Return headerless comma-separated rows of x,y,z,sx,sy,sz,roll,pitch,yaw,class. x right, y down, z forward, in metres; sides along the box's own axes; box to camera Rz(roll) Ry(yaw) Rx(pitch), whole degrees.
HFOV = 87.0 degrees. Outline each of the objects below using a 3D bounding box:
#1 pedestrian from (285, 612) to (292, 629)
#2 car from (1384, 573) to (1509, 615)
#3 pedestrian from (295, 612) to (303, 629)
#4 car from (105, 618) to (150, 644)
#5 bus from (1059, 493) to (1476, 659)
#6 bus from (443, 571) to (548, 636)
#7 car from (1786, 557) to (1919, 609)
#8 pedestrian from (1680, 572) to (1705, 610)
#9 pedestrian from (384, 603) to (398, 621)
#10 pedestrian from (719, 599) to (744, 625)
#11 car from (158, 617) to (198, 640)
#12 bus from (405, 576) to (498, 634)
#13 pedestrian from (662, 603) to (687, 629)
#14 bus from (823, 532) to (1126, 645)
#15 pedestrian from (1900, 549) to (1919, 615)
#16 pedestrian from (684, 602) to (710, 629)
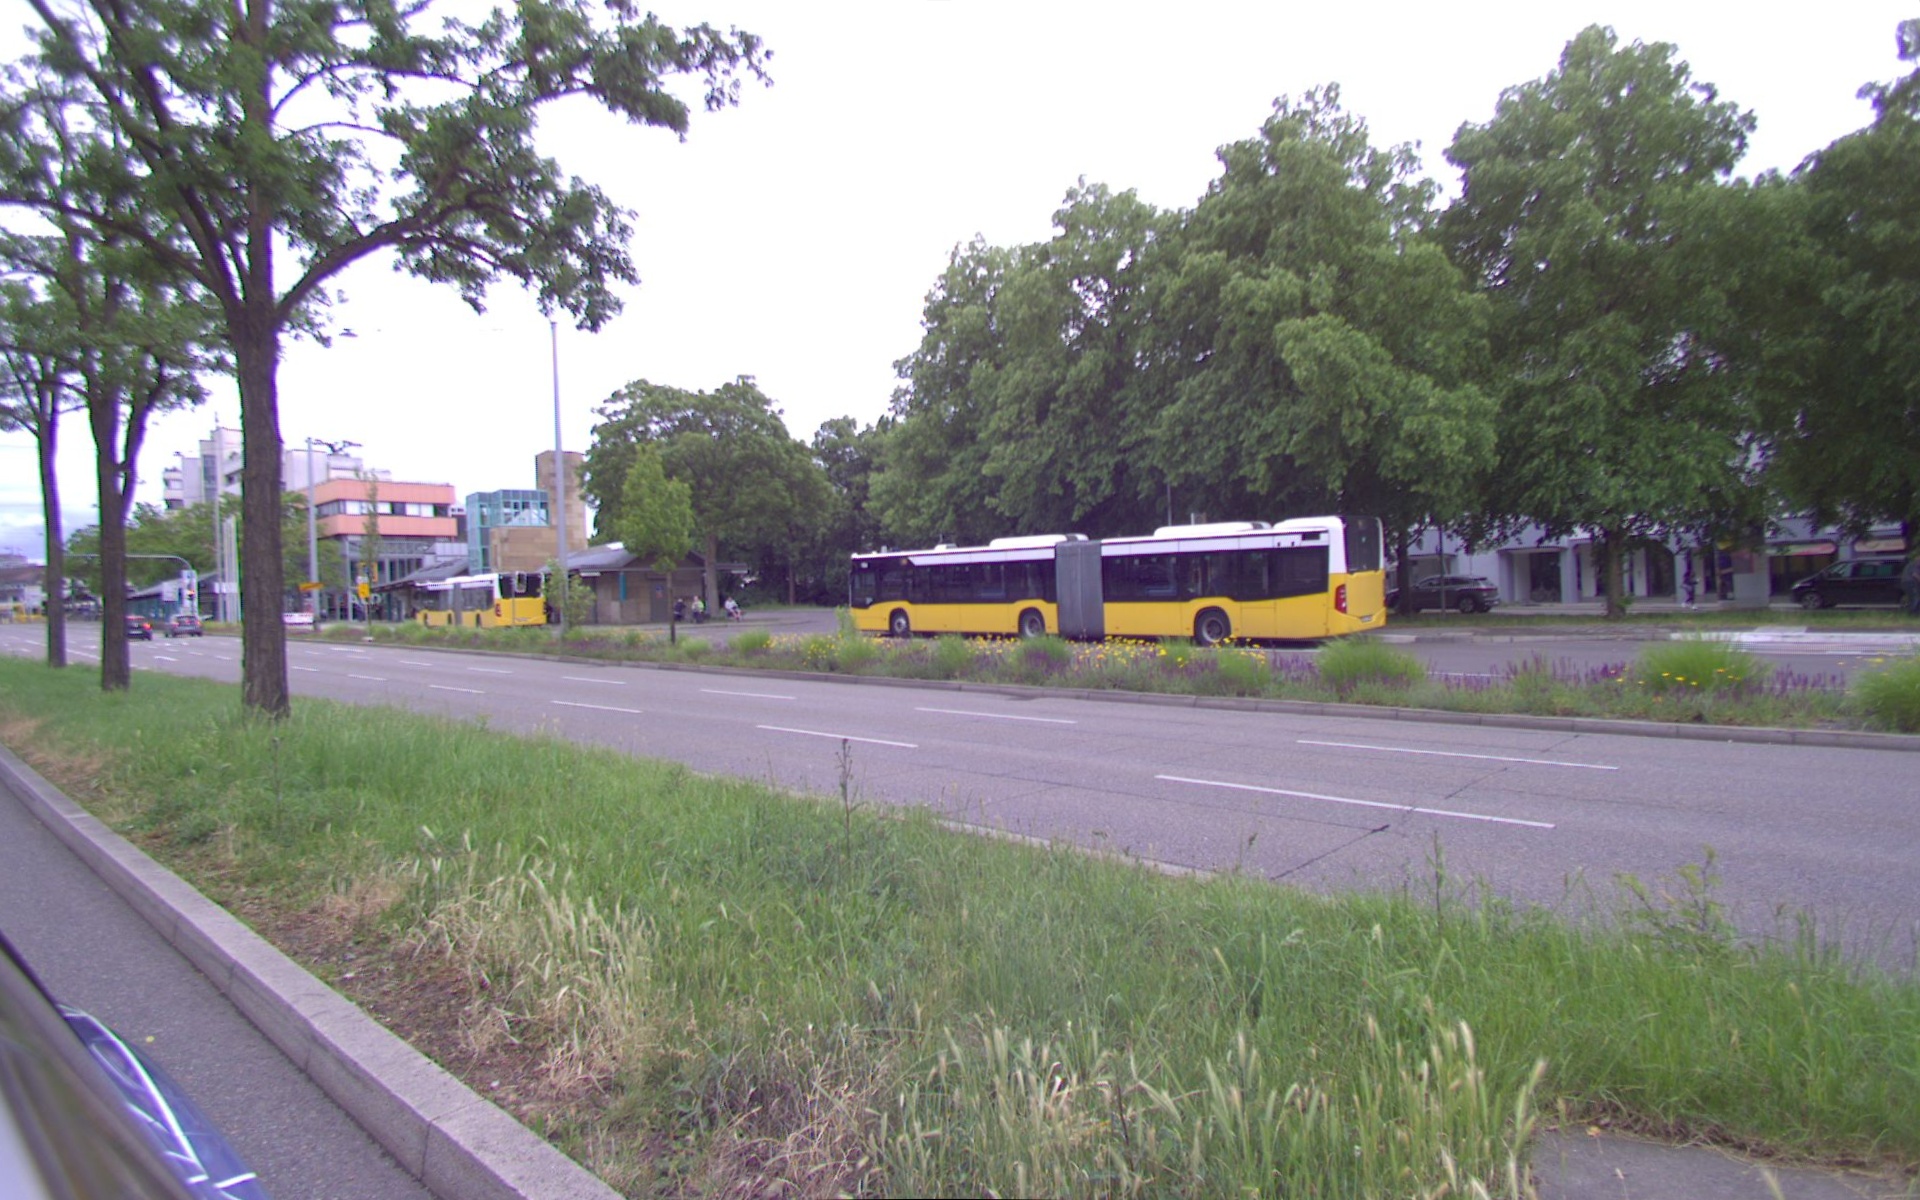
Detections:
-62.035,1.865,93.510,0.521,1.559,0.756,-2,0,-32,pedestrian
20.189,-0.234,42.083,1.970,1.593,4.251,-1,0,-44,car
-61.430,1.925,93.995,0.382,1.559,0.479,-2,0,34,pedestrian
-51.548,1.900,62.624,3.768,1.519,1.641,-1,0,43,car
7.344,-0.494,25.868,2.996,3.481,9.918,-4,2,-44,bus
-25.408,0.223,55.050,2.774,3.155,9.316,-4,2,-39,bus
34.551,-0.622,38.222,1.967,1.846,4.829,-1,0,-34,car
30.975,-0.387,42.805,0.649,1.559,0.668,-1,0,-40,pedestrian
-47.915,0.994,85.193,0.975,1.472,0.593,-2,0,-32,pedestrian
-11.460,0.604,50.681,0.858,1.264,0.883,-2,0,43,pedestrian
-53.599,1.928,69.369,1.794,1.519,4.004,-1,0,-43,car
-31.299,0.358,62.086,2.742,3.155,9.452,-4,2,-41,bus
-14.548,0.797,51.520,0.887,1.264,0.854,-2,0,14,pedestrian
0.080,-0.292,33.292,10.741,3.186,3.049,-1,1,45,bus
25.017,-0.482,26.268,0.857,1.701,0.450,-2,0,41,pedestrian
-12.977,0.746,49.993,0.888,1.300,0.853,-2,0,18,pedestrian
